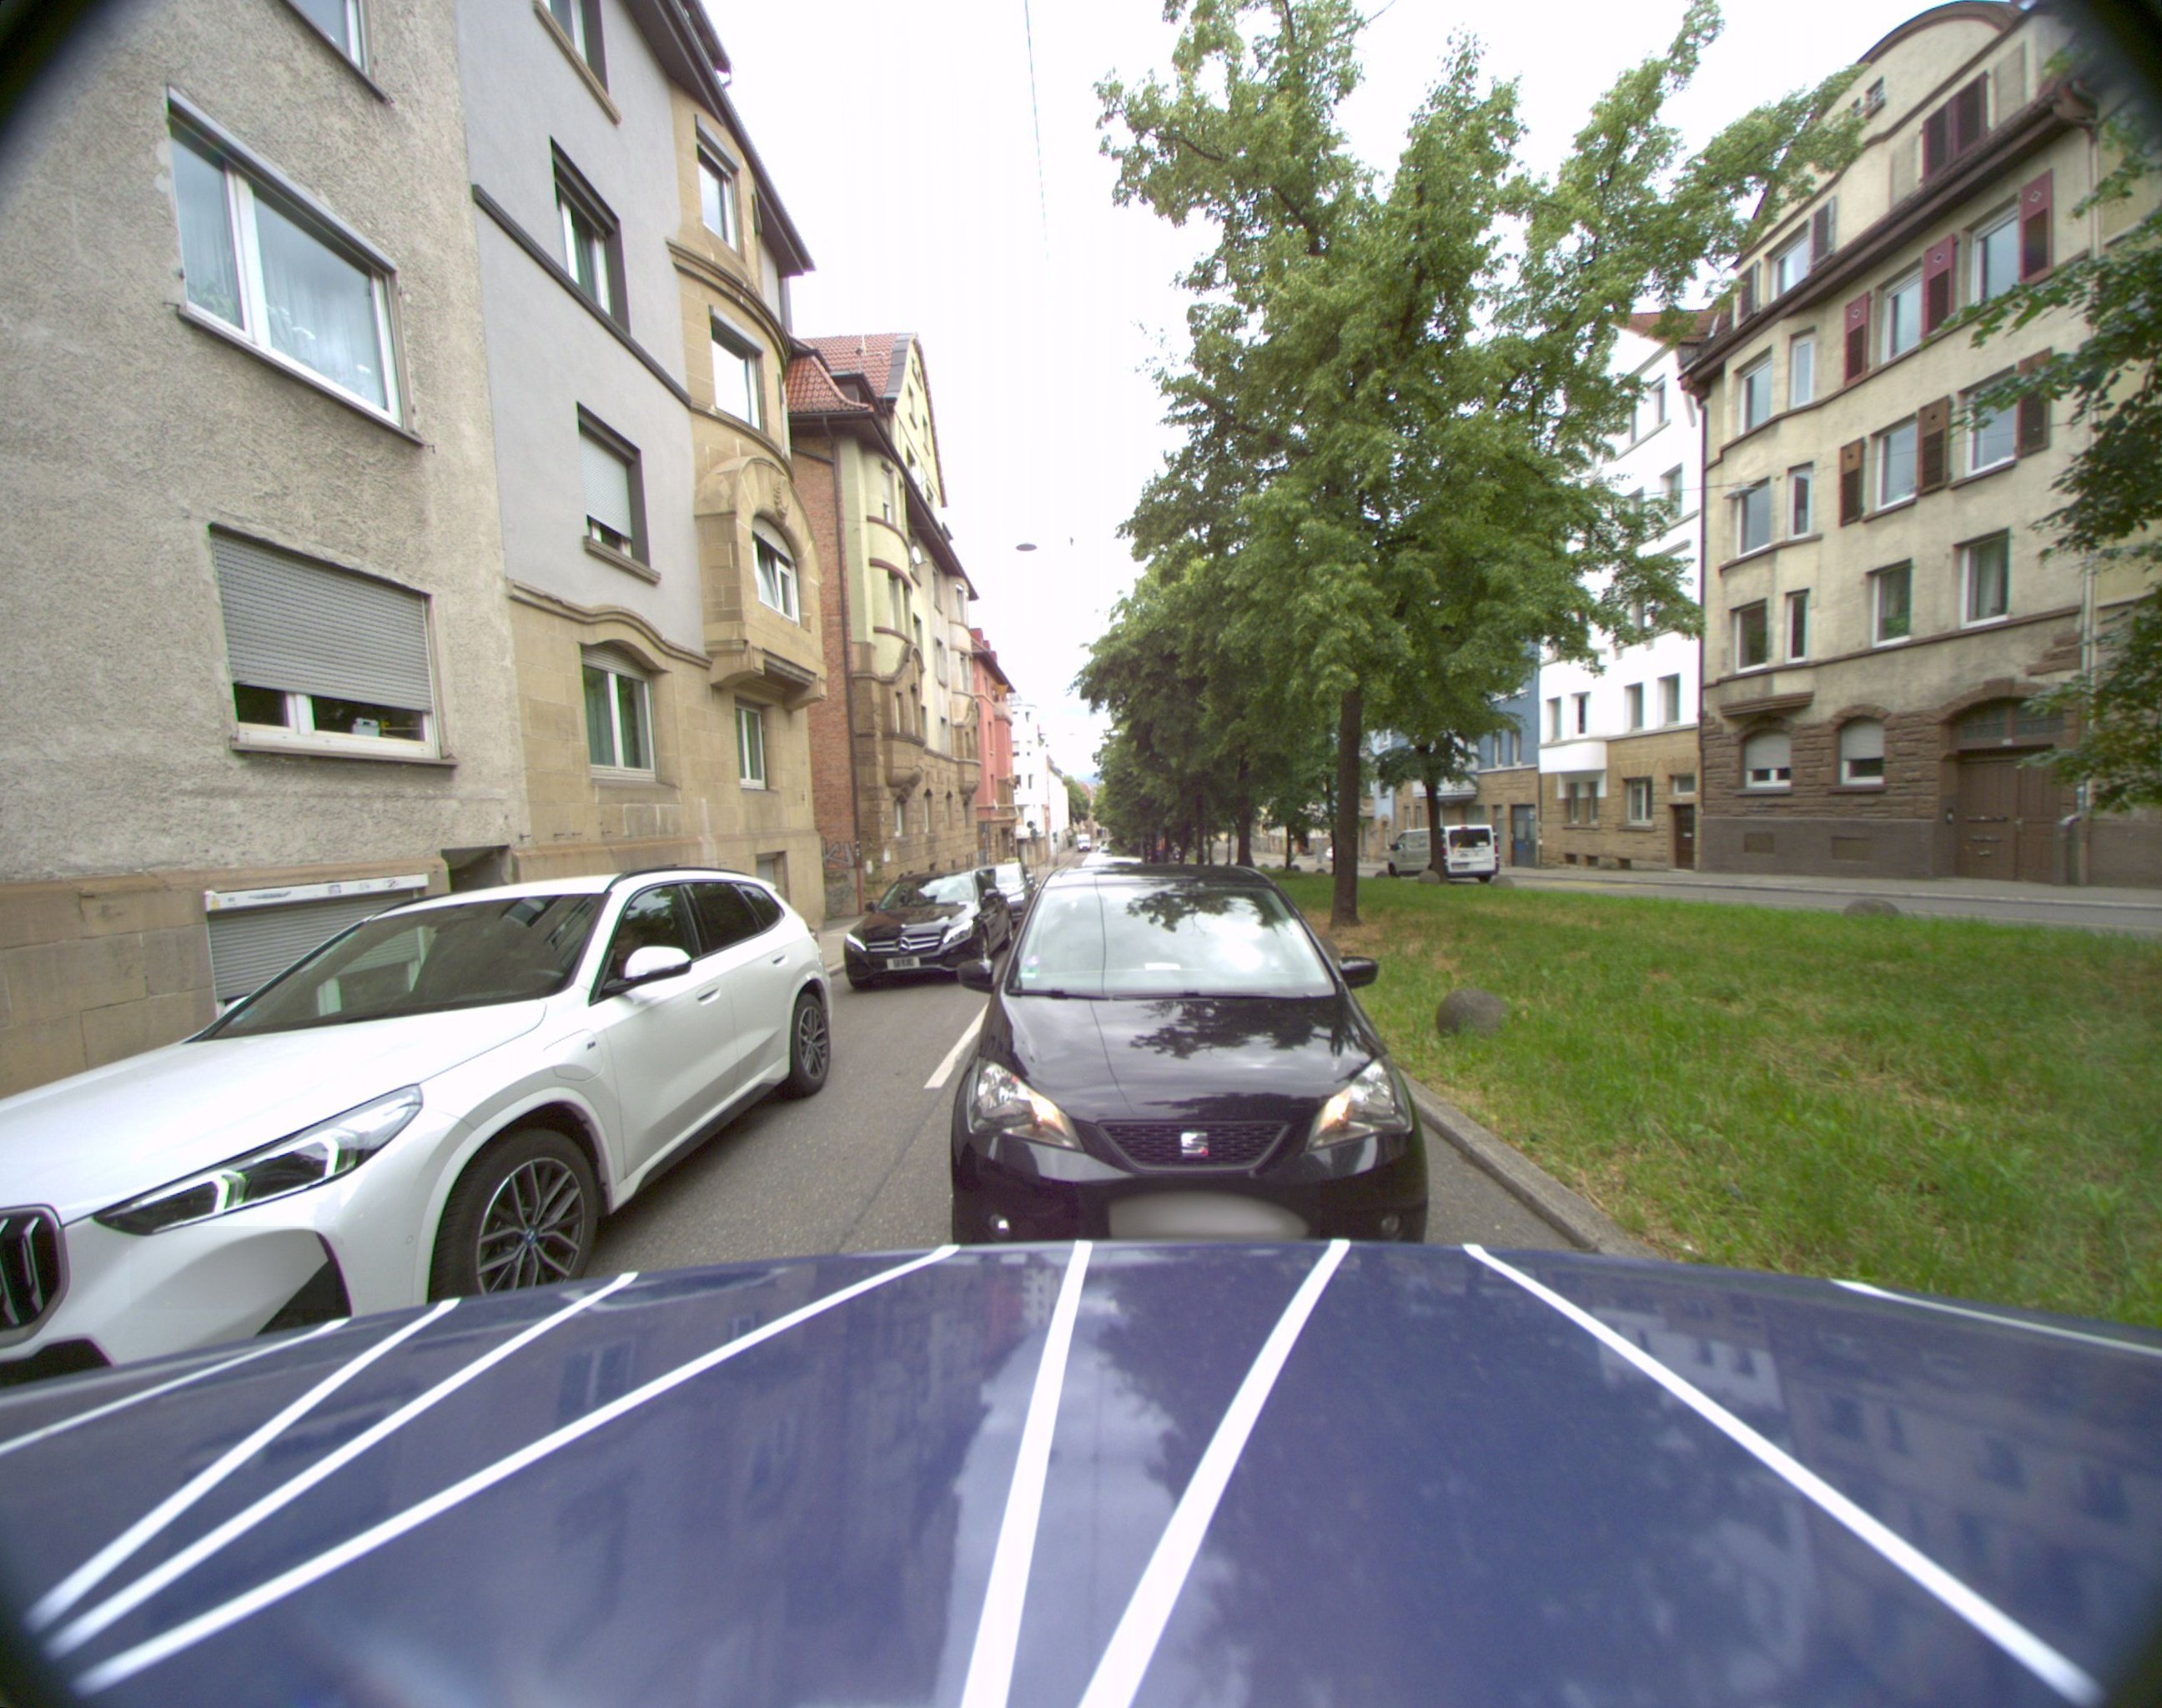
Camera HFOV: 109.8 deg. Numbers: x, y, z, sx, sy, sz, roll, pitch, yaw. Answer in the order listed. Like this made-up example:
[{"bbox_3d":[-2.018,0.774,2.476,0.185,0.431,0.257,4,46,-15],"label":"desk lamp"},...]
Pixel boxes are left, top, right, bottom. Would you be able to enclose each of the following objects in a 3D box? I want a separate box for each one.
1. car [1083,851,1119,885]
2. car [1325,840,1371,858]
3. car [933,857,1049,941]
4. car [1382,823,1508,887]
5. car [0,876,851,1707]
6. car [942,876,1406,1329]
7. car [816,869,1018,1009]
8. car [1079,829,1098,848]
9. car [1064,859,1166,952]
[{"bbox_3d":[0.946,0.648,37.279,1.607,1.492,3.737,-2,1,1],"label":"car"},{"bbox_3d":[22.150,-0.443,63.127,3.291,1.323,1.672,-2,1,10],"label":"car"},{"bbox_3d":[-1.973,0.951,18.009,1.936,1.506,4.303,-6,1,2],"label":"car"},{"bbox_3d":[12.666,0.023,26.928,1.998,1.933,5.307,-3,0,2],"label":"car"},{"bbox_3d":[-2.802,1.072,3.702,1.859,1.547,4.350,-6,1,0],"label":"car"},{"bbox_3d":[0.346,0.920,4.301,1.611,1.457,3.296,0,1,1],"label":"car"},{"bbox_3d":[-2.147,1.062,11.222,1.884,1.369,4.205,-6,1,1],"label":"car"},{"bbox_3d":[1.327,-2.569,127.517,2.715,2.879,6.454,-2,1,5],"label":"car"},{"bbox_3d":[0.603,0.885,14.684,1.664,1.456,3.580,-2,1,1],"label":"car"}]
